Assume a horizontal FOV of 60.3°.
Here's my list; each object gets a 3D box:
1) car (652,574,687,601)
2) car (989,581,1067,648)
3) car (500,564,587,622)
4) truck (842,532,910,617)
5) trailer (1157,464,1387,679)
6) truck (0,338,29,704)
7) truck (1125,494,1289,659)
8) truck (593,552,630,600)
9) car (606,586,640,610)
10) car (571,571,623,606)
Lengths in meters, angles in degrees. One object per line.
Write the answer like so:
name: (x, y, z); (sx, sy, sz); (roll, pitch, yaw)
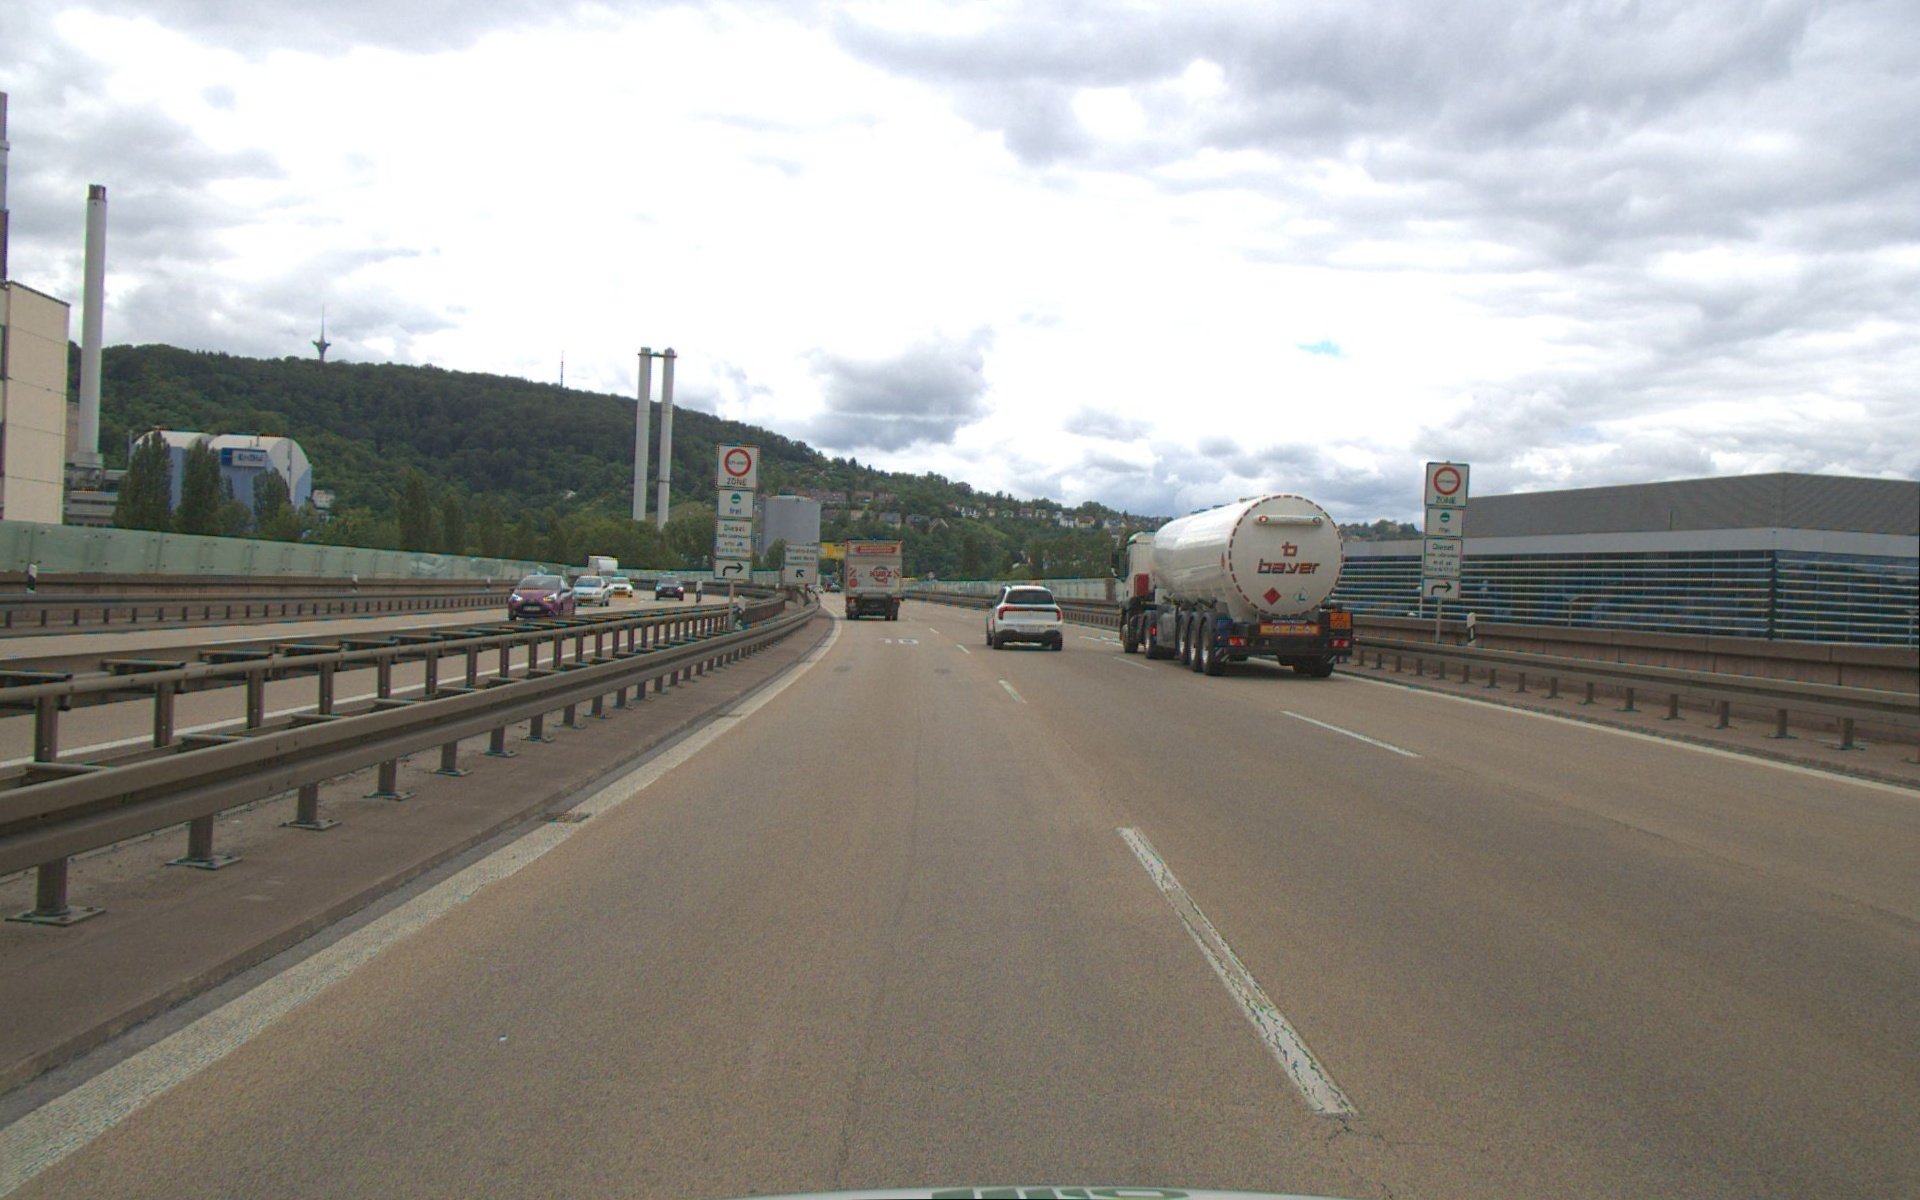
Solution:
car: (-19.450, -0.837, 110.803); (1.955, 1.704, 4.402); (2, 0, -6)
car: (1.795, 0.390, 44.890); (1.952, 1.704, 4.408); (1, 0, 0)
car: (-13.065, -0.198, 52.151); (1.955, 1.704, 4.403); (1, 0, -5)
truck: (-4.040, -1.126, 78.319); (2.996, 3.755, 8.297); (1, 0, -4)
trailer: (6.157, -0.499, 34.156); (2.995, 3.856, 8.301); (1, 0, -1)
truck: (-11.496, -0.877, 11.995); (2.753, 3.876, 12.017); (1, 0, -1)
truck: (5.980, -0.522, 41.075); (2.953, 3.721, 6.271); (1, 0, -1)
truck: (-35.435, -2.365, 168.284); (2.999, 4.642, 8.288); (1, 0, -8)
car: (-24.890, -0.164, 122.198); (1.955, 1.704, 4.402); (1, 0, -6)
car: (-18.086, -0.545, 82.550); (1.955, 1.704, 4.403); (1, 0, -5)
